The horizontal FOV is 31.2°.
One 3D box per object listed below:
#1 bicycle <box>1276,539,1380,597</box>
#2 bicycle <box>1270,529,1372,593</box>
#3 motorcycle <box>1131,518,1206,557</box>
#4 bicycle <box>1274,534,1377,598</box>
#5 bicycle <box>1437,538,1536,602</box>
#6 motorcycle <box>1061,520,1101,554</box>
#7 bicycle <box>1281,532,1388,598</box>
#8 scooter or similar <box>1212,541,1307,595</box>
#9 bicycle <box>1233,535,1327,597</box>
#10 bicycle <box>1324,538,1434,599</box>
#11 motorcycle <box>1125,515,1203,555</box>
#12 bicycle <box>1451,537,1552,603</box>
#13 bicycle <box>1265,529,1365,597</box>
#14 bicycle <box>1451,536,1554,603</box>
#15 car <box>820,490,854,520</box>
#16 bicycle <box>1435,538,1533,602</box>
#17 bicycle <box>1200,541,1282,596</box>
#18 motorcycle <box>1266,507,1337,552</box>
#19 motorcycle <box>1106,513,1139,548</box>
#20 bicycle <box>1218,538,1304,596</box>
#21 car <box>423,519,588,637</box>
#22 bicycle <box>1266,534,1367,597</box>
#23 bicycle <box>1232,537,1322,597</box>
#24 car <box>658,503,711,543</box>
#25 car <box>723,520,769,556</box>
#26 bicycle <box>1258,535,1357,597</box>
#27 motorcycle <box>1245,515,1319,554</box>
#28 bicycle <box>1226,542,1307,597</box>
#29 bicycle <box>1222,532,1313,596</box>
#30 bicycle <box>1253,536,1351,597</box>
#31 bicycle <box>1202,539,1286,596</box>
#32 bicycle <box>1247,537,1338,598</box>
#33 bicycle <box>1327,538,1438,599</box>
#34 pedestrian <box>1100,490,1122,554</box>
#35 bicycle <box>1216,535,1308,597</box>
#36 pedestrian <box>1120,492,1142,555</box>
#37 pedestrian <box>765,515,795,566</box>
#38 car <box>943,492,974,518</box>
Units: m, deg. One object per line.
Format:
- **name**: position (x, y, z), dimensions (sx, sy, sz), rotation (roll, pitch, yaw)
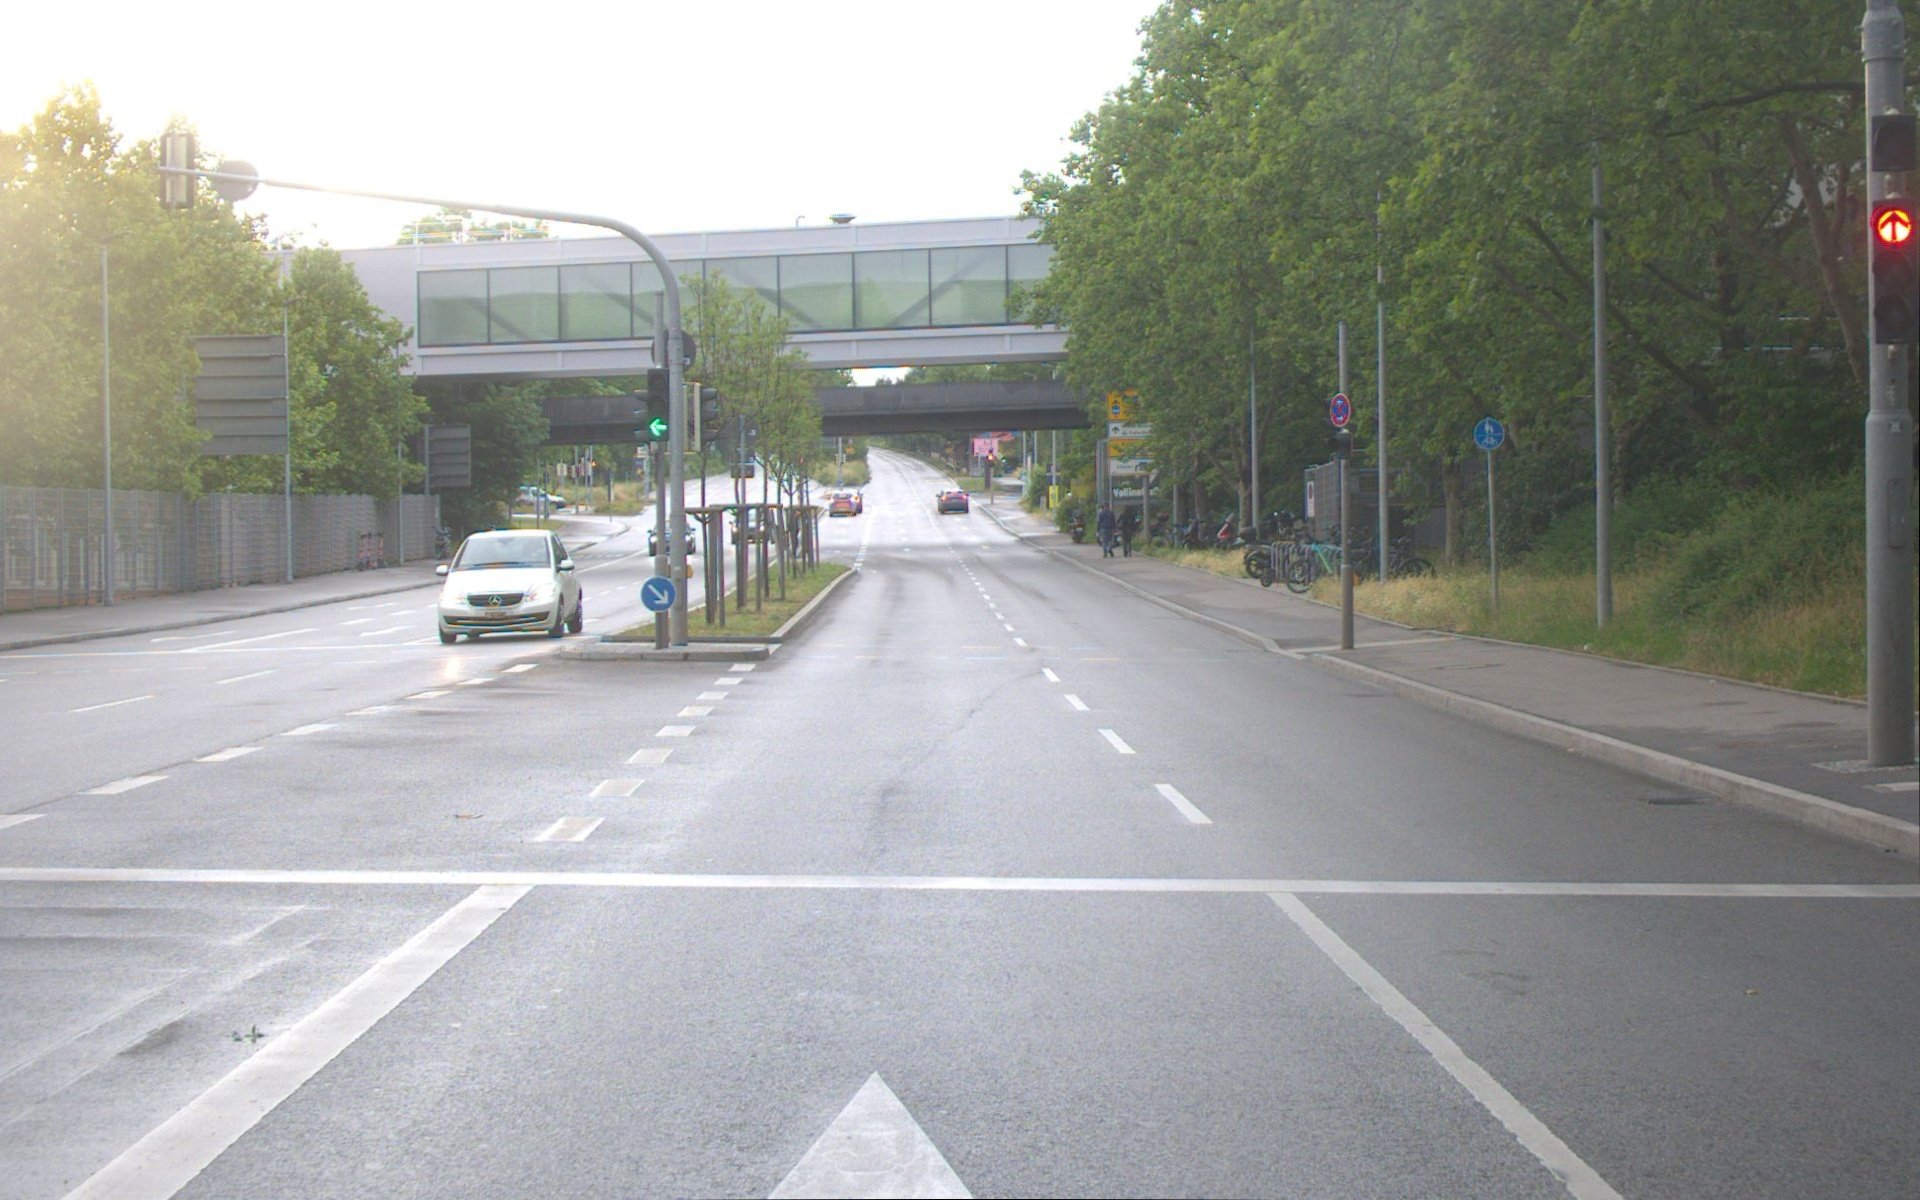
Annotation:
- **bicycle**: position (7.319, -0.630, 68.442), dimensions (1.990, 1.091, 0.541), rotation (1, 0, 1)
- **bicycle**: position (7.332, -0.789, 69.801), dimensions (1.990, 1.237, 0.541), rotation (1, 0, 1)
- **motorcycle**: position (6.809, -2.055, 112.488), dimensions (2.369, 1.198, 0.722), rotation (-2, 1, 8)
- **bicycle**: position (7.335, -0.690, 69.023), dimensions (1.990, 1.229, 0.541), rotation (1, 0, 1)
- **bicycle**: position (11.252, -0.636, 73.470), dimensions (1.990, 1.324, 0.576), rotation (1, 0, 1)
- **motorcycle**: position (4.785, -2.479, 136.382), dimensions (0.790, 1.307, 2.377), rotation (-2, 1, -18)
- **bicycle**: position (7.275, -0.678, 66.835), dimensions (1.990, 1.212, 0.541), rotation (1, 0, 1)
- **scooter or similar**: position (6.528, -0.692, 74.915), dimensions (1.990, 1.134, 0.541), rotation (1, 0, 1)
- **bicycle**: position (7.070, -0.748, 76.024), dimensions (1.990, 1.324, 0.576), rotation (1, 0, 1)
- **bicycle**: position (7.961, -0.597, 65.370), dimensions (1.990, 1.091, 0.541), rotation (1, 0, 1)
- **motorcycle**: position (6.461, -2.063, 108.732), dimensions (2.369, 1.198, 0.722), rotation (-2, 1, 8)
- **bicycle**: position (11.350, -0.630, 72.093), dimensions (1.990, 1.324, 0.576), rotation (1, 0, 1)
- **bicycle**: position (7.343, -0.765, 71.101), dimensions (1.990, 1.336, 0.541), rotation (1, 0, 1)
- **bicycle**: position (11.164, -0.632, 70.766), dimensions (1.990, 1.324, 0.576), rotation (1, 0, 1)
- **car**: position (-7.778, -5.988, 217.781), dimensions (1.993, 1.756, 4.000), rotation (1, 0, 0)
- **bicycle**: position (11.304, -0.636, 74.148), dimensions (1.990, 1.324, 0.576), rotation (1, 0, 1)
- **bicycle**: position (6.994, -0.784, 85.680), dimensions (1.963, 1.324, 0.654), rotation (1, 0, 1)
- **motorcycle**: position (11.711, -2.434, 117.948), dimensions (2.369, 1.471, 0.722), rotation (-2, 1, 8)
- **motorcycle**: position (6.203, -2.648, 131.358), dimensions (0.790, 1.307, 2.377), rotation (-2, 1, -8)
- **bicycle**: position (7.116, -0.771, 81.313), dimensions (1.960, 1.324, 0.576), rotation (1, 0, 1)
- **car**: position (-6.637, -0.348, 50.555), dimensions (1.877, 1.619, 3.779), rotation (-1, 1, 0)
- **bicycle**: position (7.314, -0.698, 70.492), dimensions (1.990, 1.237, 0.541), rotation (1, 0, 1)
- **bicycle**: position (7.309, -0.762, 79.362), dimensions (1.990, 1.324, 0.576), rotation (1, 0, 1)
- **car**: position (-11.517, -3.226, 143.683), dimensions (1.877, 1.619, 3.779), rotation (-1, 1, 0)
- **car**: position (-9.988, -2.904, 160.358), dimensions (1.877, 1.619, 3.779), rotation (-1, 1, 0)
- **bicycle**: position (7.245, -0.703, 71.794), dimensions (1.990, 1.237, 0.541), rotation (1, 0, 1)
- **motorcycle**: position (10.505, -2.144, 112.137), dimensions (2.369, 1.198, 0.722), rotation (-2, 1, 8)
- **bicycle**: position (7.713, -0.768, 86.537), dimensions (1.963, 1.324, 0.654), rotation (1, 0, 1)
- **bicycle**: position (7.011, -0.818, 78.510), dimensions (1.990, 1.425, 0.723), rotation (1, 0, 1)
- **bicycle**: position (7.238, -0.705, 72.743), dimensions (1.990, 1.237, 0.541), rotation (1, 0, 1)
- **bicycle**: position (6.904, -0.782, 83.607), dimensions (1.963, 1.324, 0.654), rotation (1, 0, 1)
- **bicycle**: position (7.521, -0.741, 77.770), dimensions (1.990, 1.324, 0.576), rotation (1, 0, 1)
- **bicycle**: position (7.962, -0.595, 64.801), dimensions (1.990, 1.091, 0.541), rotation (1, 0, 1)
- **pedestrian**: position (4.823, -2.498, 110.154), dimensions (0.622, 2.007, 0.605), rotation (-2, 1, 0)
- **bicycle**: position (6.744, -0.759, 76.836), dimensions (1.990, 1.324, 0.576), rotation (1, 0, 1)
- **pedestrian**: position (5.457, -2.447, 109.762), dimensions (0.622, 2.007, 0.605), rotation (-2, 1, 0)
- **pedestrian**: position (-7.150, -2.357, 136.647), dimensions (0.853, 1.997, 0.874), rotation (-1, 1, 19)
- **car**: position (-0.062, -5.921, 213.917), dimensions (1.875, 1.492, 4.068), rotation (1, 0, 0)
